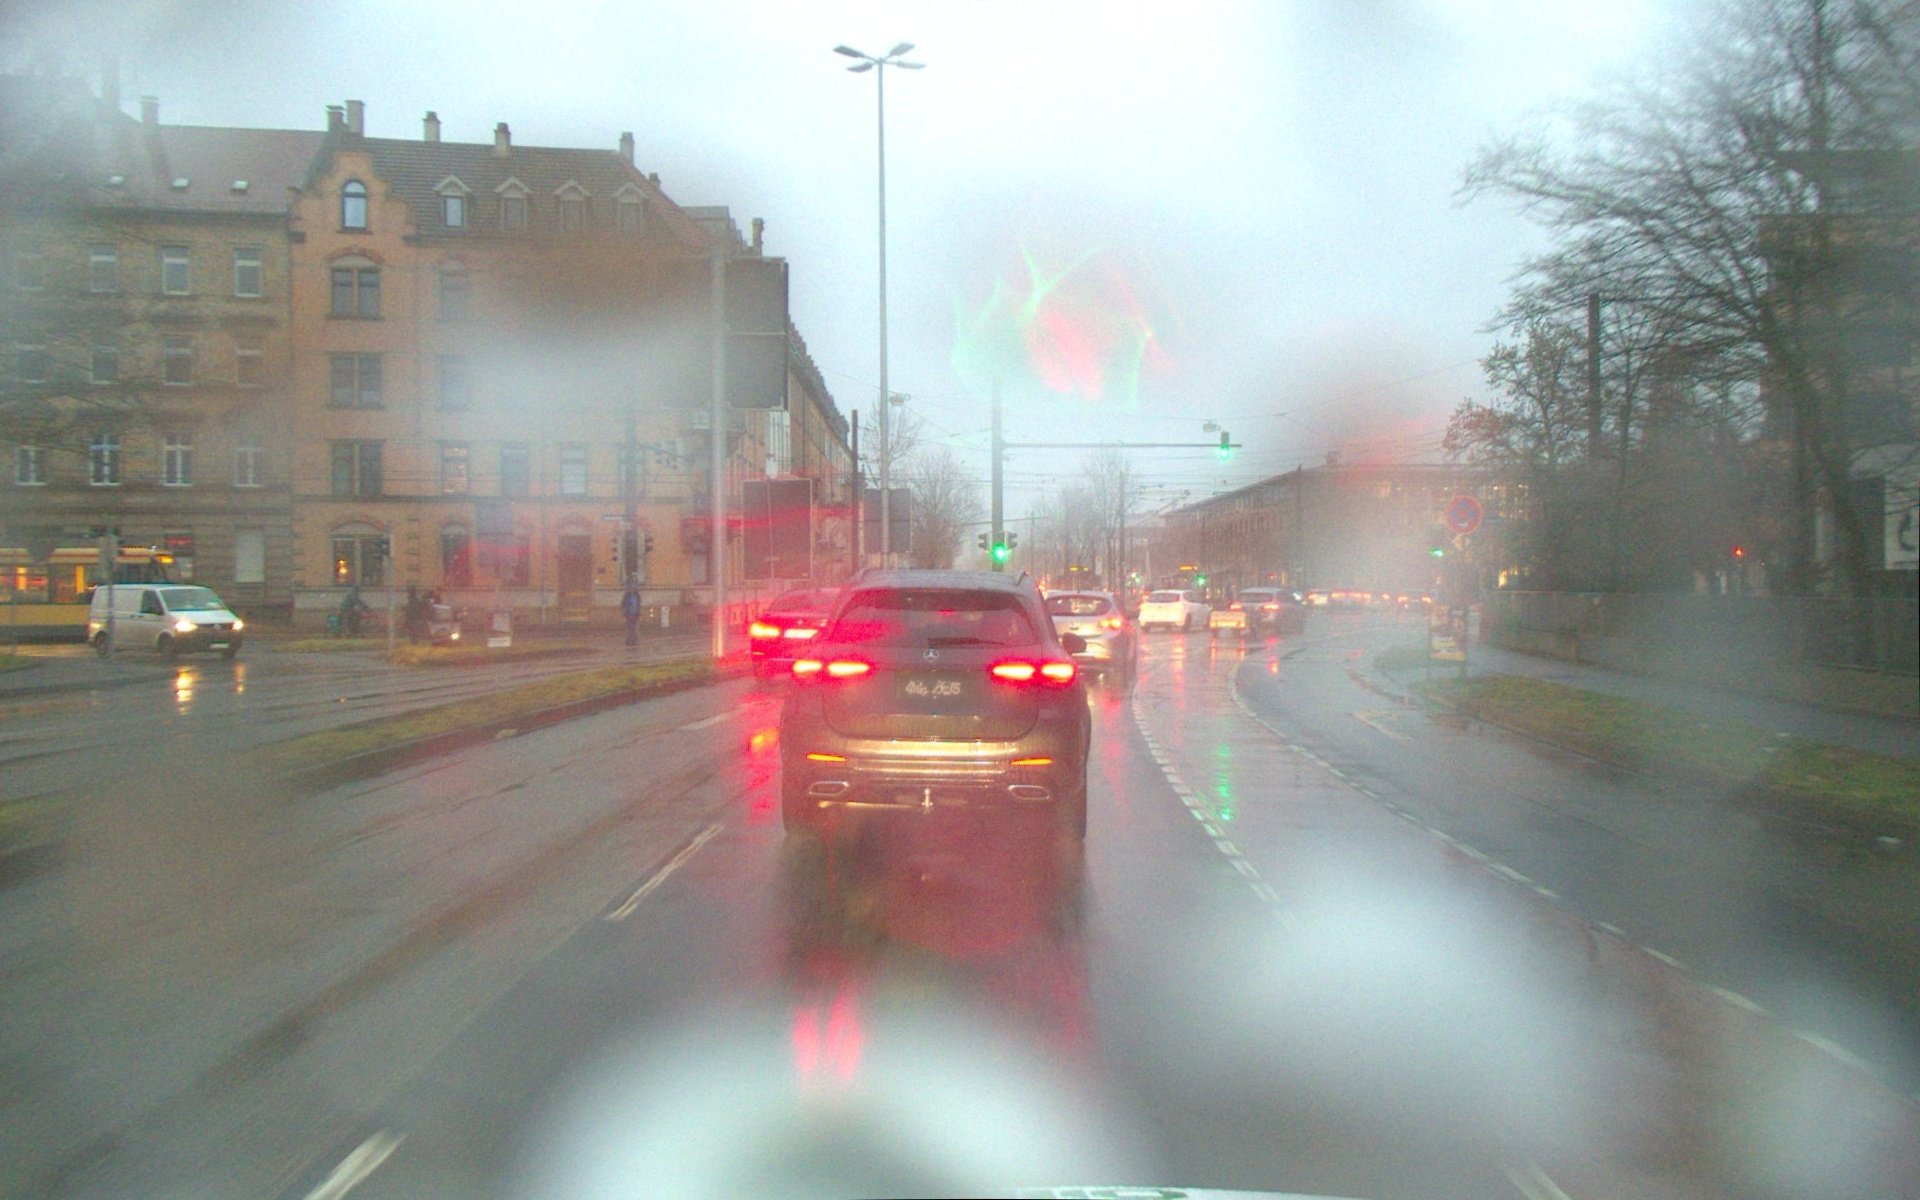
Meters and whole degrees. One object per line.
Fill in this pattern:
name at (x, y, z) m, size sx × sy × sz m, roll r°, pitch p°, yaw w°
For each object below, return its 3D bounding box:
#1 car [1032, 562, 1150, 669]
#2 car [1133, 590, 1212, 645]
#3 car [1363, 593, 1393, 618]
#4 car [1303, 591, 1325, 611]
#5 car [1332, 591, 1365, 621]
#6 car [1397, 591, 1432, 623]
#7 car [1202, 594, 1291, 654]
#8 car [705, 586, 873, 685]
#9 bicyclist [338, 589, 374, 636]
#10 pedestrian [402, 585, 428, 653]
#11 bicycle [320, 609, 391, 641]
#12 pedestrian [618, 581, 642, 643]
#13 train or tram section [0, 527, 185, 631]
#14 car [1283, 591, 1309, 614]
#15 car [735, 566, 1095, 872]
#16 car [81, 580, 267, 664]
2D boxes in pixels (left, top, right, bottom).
car at (2.434, 0.241, 29.839) m, size 1.951 × 1.796 × 4.003 m, roll -1°, pitch 1°, yaw 7°
car at (7.459, 0.583, 57.764) m, size 1.952 × 1.796 × 4.001 m, roll -1°, pitch 1°, yaw 20°
car at (26.399, 0.346, 104.597) m, size 1.708 × 1.484 × 3.529 m, roll -1°, pitch 1°, yaw 12°
car at (25.818, 0.083, 120.632) m, size 1.558 × 1.409 × 3.529 m, roll -1°, pitch 1°, yaw 12°
car at (22.148, 0.318, 94.283) m, size 1.708 × 1.640 × 4.003 m, roll -1°, pitch 1°, yaw 15°
car at (24.194, 0.352, 88.095) m, size 1.708 × 1.640 × 4.003 m, roll -1°, pitch 1°, yaw 15°
car at (9.283, 0.739, 53.329) m, size 1.953 × 1.796 × 3.999 m, roll -1°, pitch 1°, yaw 23°
car at (-2.624, 0.509, 26.310) m, size 1.951 × 1.422 × 4.002 m, roll -1°, pitch 1°, yaw 4°
bicyclist at (-18.126, 0.371, 49.598) m, size 0.955 × 1.415 × 0.501 m, roll 0°, pitch 1°, yaw -29°
pedestrian at (-14.613, 0.507, 44.375) m, size 0.615 × 1.823 × 0.530 m, roll 0°, pitch 1°, yaw -14°
bicycle at (-18.132, 0.734, 49.599) m, size 1.957 × 0.915 × 0.501 m, roll 0°, pitch 1°, yaw -30°
pedestrian at (-9.721, 0.356, 48.727) m, size 0.457 × 1.803 × 0.629 m, roll 0°, pitch 0°, yaw 20°
train or tram section at (-33.901, -0.740, 53.121) m, size 15.962 × 3.244 × 3.161 m, roll 1°, pitch 0°, yaw -11°
car at (23.070, 0.147, 113.438) m, size 1.708 × 1.484 × 3.529 m, roll -1°, pitch 1°, yaw 12°
car at (-0.260, 0.629, 11.052) m, size 1.950 × 1.644 × 4.000 m, roll -1°, pitch 1°, yaw -1°
car at (-20.751, 0.586, 43.643) m, size 4.747 × 1.980 × 1.997 m, roll -2°, pitch 0°, yaw 29°
